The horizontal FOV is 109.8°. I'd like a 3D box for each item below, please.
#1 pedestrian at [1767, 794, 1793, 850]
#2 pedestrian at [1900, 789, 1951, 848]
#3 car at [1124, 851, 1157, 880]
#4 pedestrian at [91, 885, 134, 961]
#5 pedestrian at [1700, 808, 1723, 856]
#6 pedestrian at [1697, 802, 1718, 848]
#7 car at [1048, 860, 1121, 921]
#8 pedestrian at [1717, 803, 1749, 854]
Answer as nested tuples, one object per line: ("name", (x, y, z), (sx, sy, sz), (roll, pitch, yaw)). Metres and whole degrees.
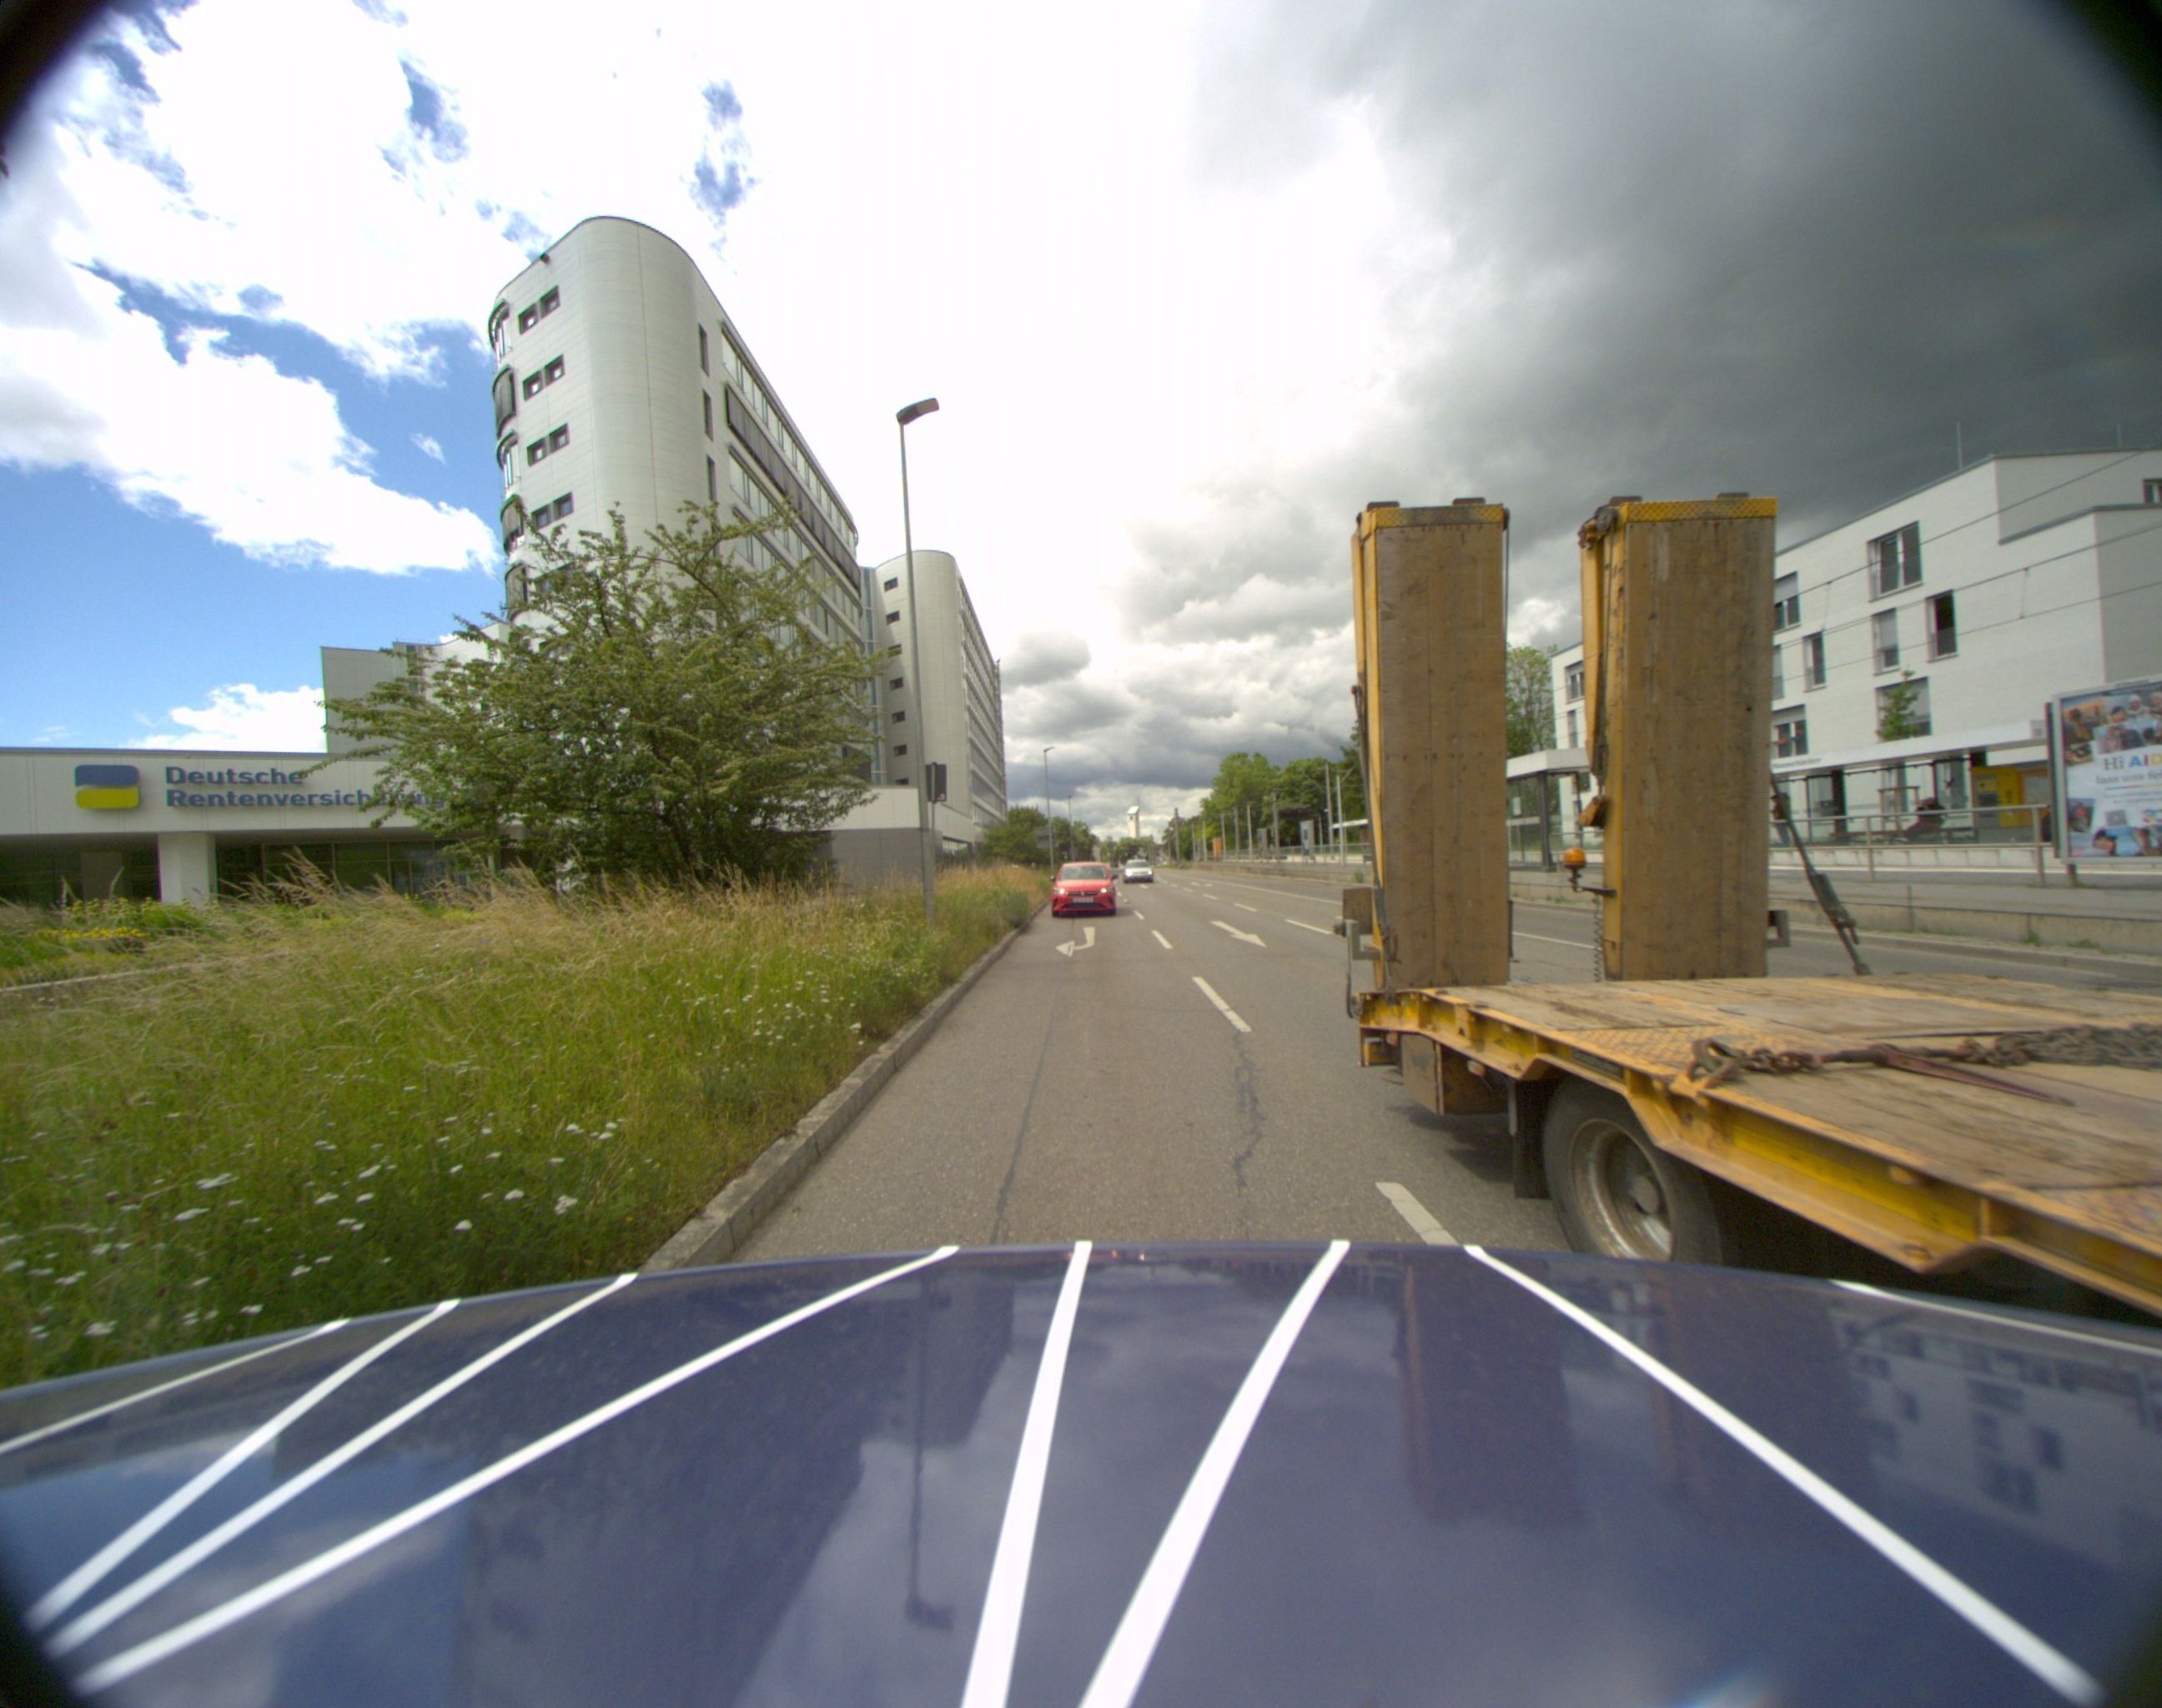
("pedestrian", (22.656, -1.032, 24.635), (0.487, 1.755, 0.679), (-3, 0, 35))
("pedestrian", (22.961, -0.963, 20.668), (0.562, 1.545, 0.678), (-3, 0, 2))
("car", (3.533, 0.685, 45.616), (1.841, 1.586, 4.001), (-3, 0, 3))
("pedestrian", (-26.427, 1.870, 20.740), (0.693, 2.002, 0.609), (-3, 1, 42))
("pedestrian", (21.605, -0.747, 26.031), (0.487, 1.587, 0.679), (-3, 0, 35))
("pedestrian", (22.196, -1.036, 26.920), (0.487, 1.587, 0.679), (-3, 0, 44))
("car", (0.174, 0.949, 21.879), (1.790, 1.453, 4.853), (-3, 0, 2))
("pedestrian", (22.639, -0.890, 26.379), (0.489, 1.715, 0.676), (-3, 0, -34))
